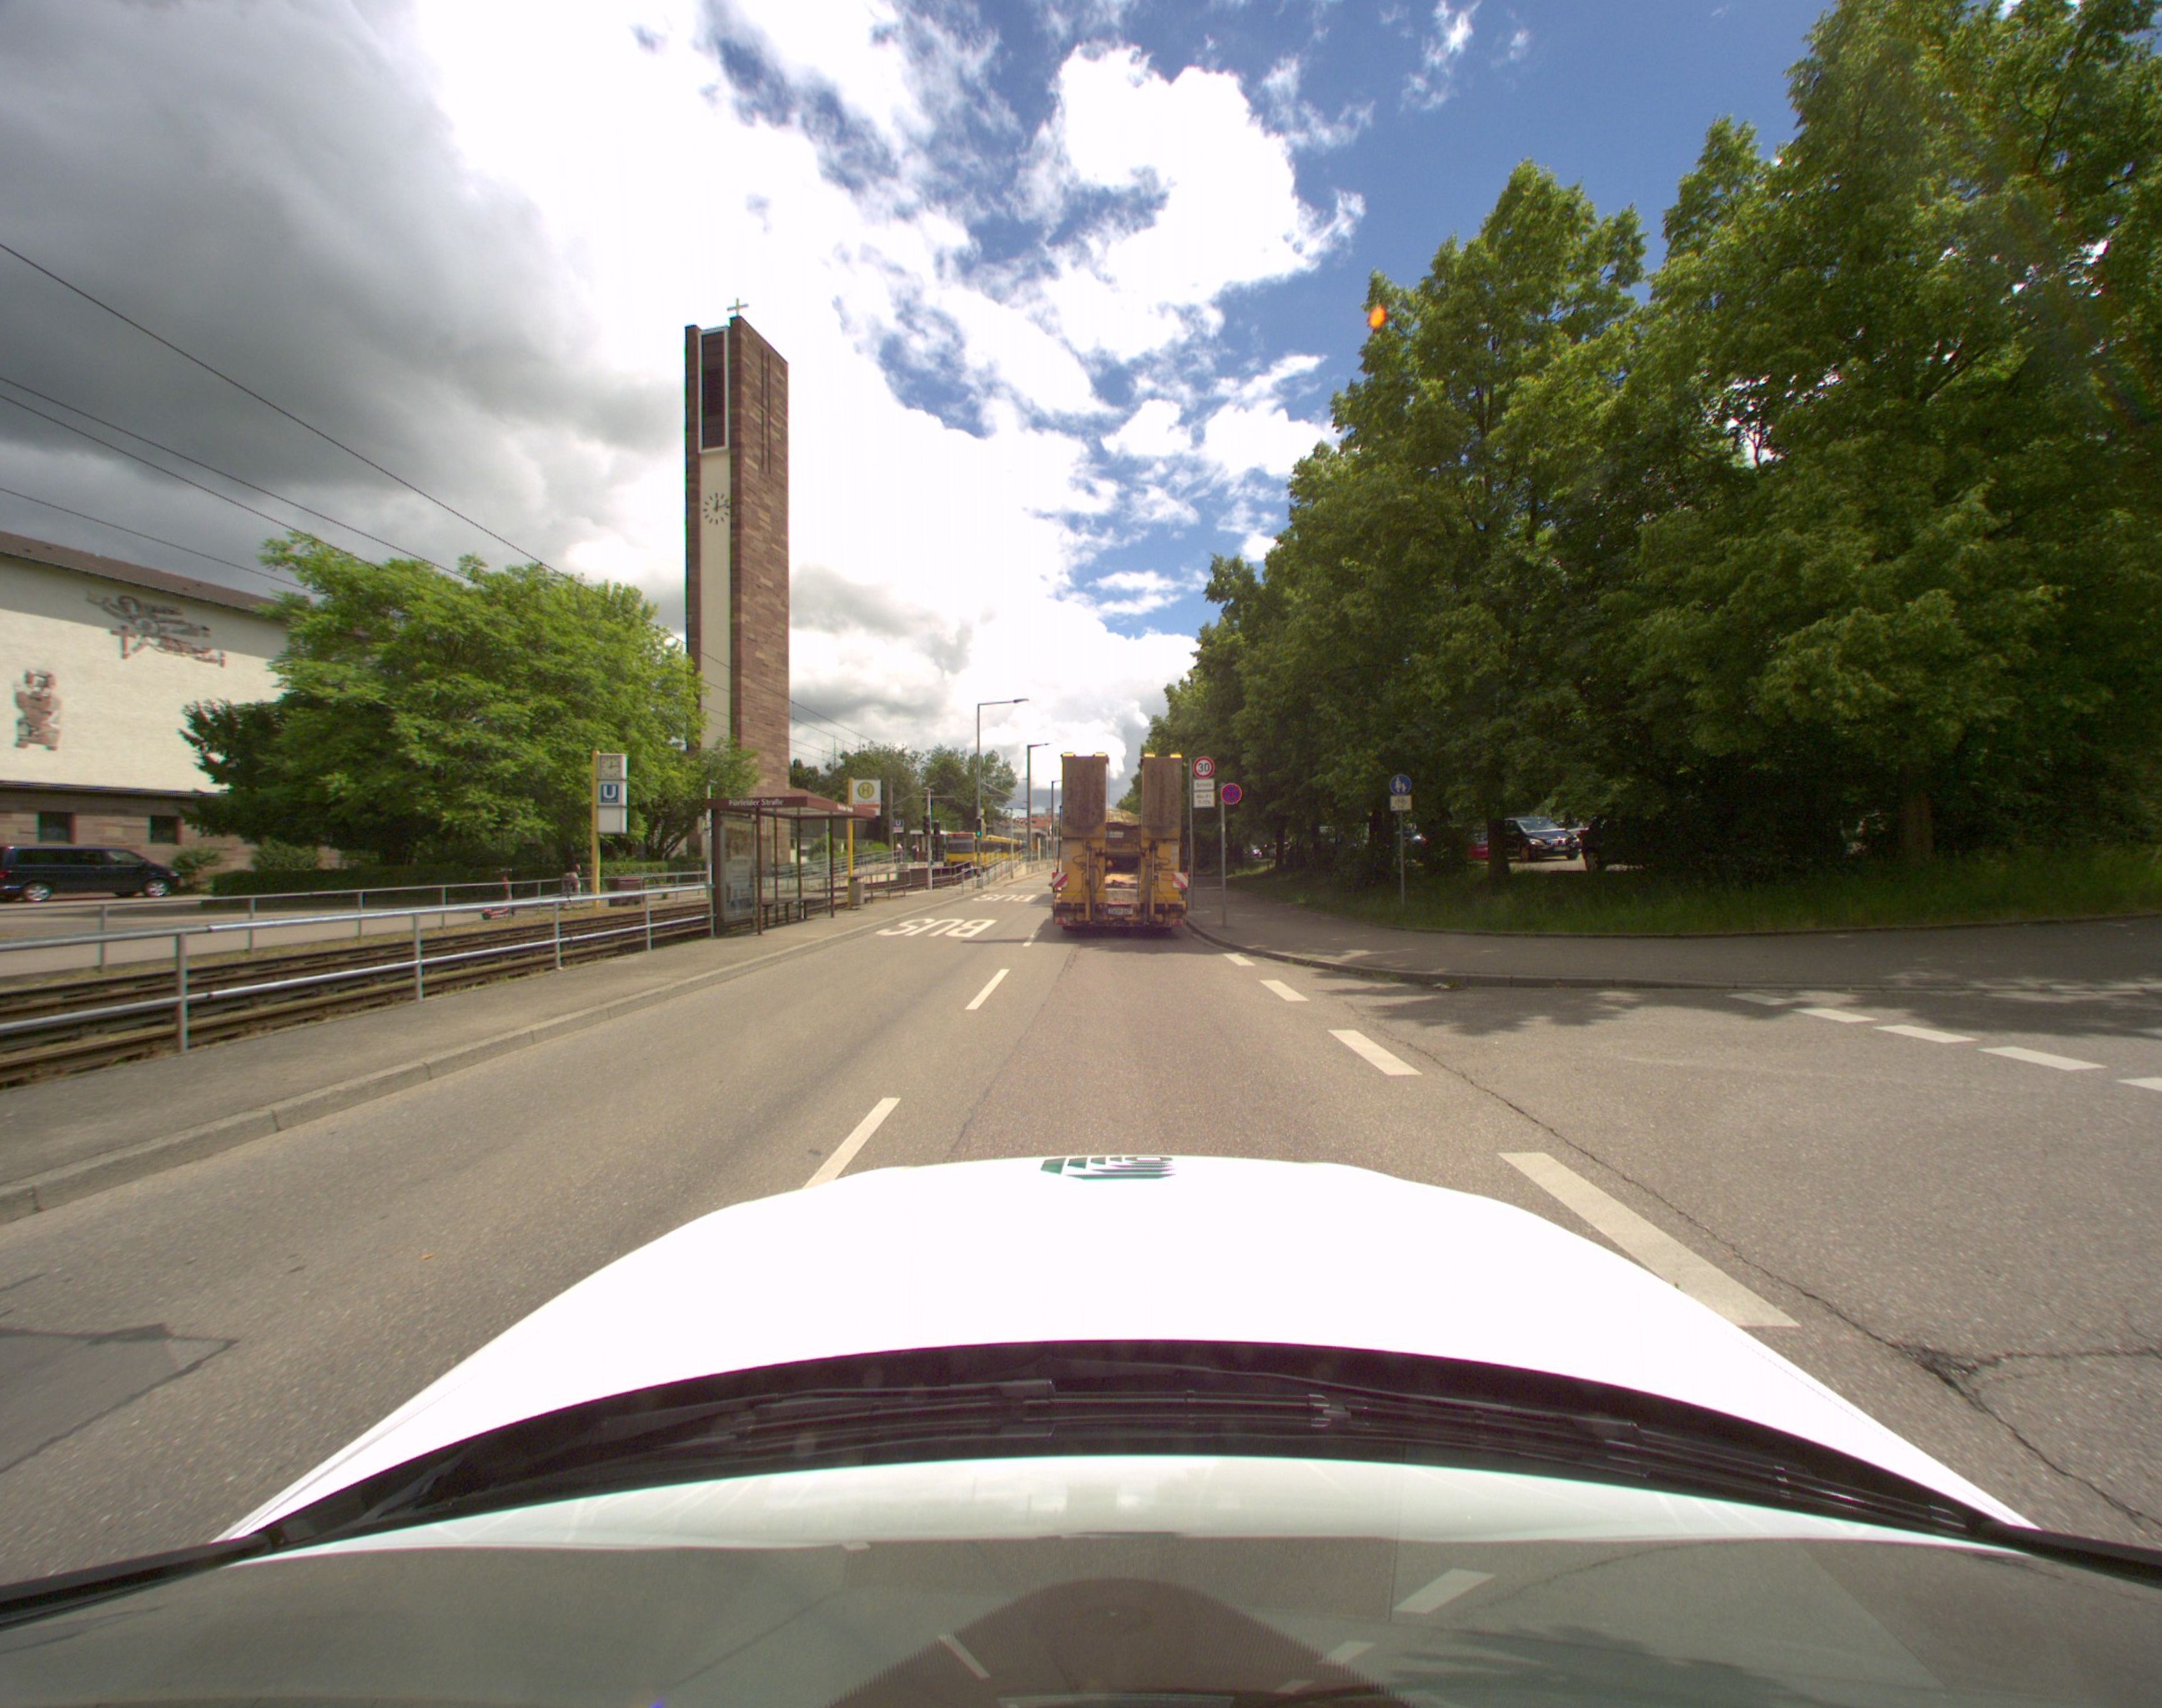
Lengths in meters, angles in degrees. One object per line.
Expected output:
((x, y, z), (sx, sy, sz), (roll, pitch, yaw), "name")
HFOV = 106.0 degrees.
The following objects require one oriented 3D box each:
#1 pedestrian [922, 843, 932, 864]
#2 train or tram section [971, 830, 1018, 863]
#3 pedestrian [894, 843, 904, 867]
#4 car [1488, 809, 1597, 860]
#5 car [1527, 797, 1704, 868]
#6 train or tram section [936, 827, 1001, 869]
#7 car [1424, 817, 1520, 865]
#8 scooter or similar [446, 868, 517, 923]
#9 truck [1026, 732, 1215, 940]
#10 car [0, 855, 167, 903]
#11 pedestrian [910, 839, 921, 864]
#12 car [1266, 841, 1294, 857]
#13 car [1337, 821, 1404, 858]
((-12.827, -0.018, 67.735), (0.637, 1.707, 0.646), (1, 0, 1), "pedestrian")
((-9.911, -0.753, 96.266), (3.097, 3.465, 19.000), (1, 0, 1), "train or tram section")
((-13.851, 0.058, 62.021), (0.582, 1.778, 0.576), (1, 0, 1), "pedestrian")
((16.087, -0.645, 28.591), (1.746, 1.582, 3.663), (-3, 0, 1), "car")
((13.121, -0.466, 20.303), (1.818, 1.512, 3.811), (-2, -2, -1), "car")
((-10.341, -0.448, 77.376), (3.097, 3.465, 18.829), (1, 0, 1), "train or tram section")
((13.875, -0.432, 29.126), (1.655, 1.500, 3.663), (-3, 0, 1), "car")
((-14.532, 0.983, 19.791), (0.647, 1.237, 1.402), (1, 1, 2), "scooter or similar")
((0.594, -0.324, 21.525), (3.392, 3.732, 13.731), (0, 0, -1), "truck")
((-36.768, 0.868, 29.451), (1.977, 1.574, 4.498), (1, 0, 19), "car")
((-13.611, -0.231, 66.880), (0.710, 2.014, 0.731), (1, 0, -1), "pedestrian")
((19.626, -0.448, 80.632), (1.834, 1.420, 4.125), (-3, 0, 2), "car")
((13.175, -0.612, 37.311), (1.621, 1.514, 4.139), (-4, 0, 1), "car")
